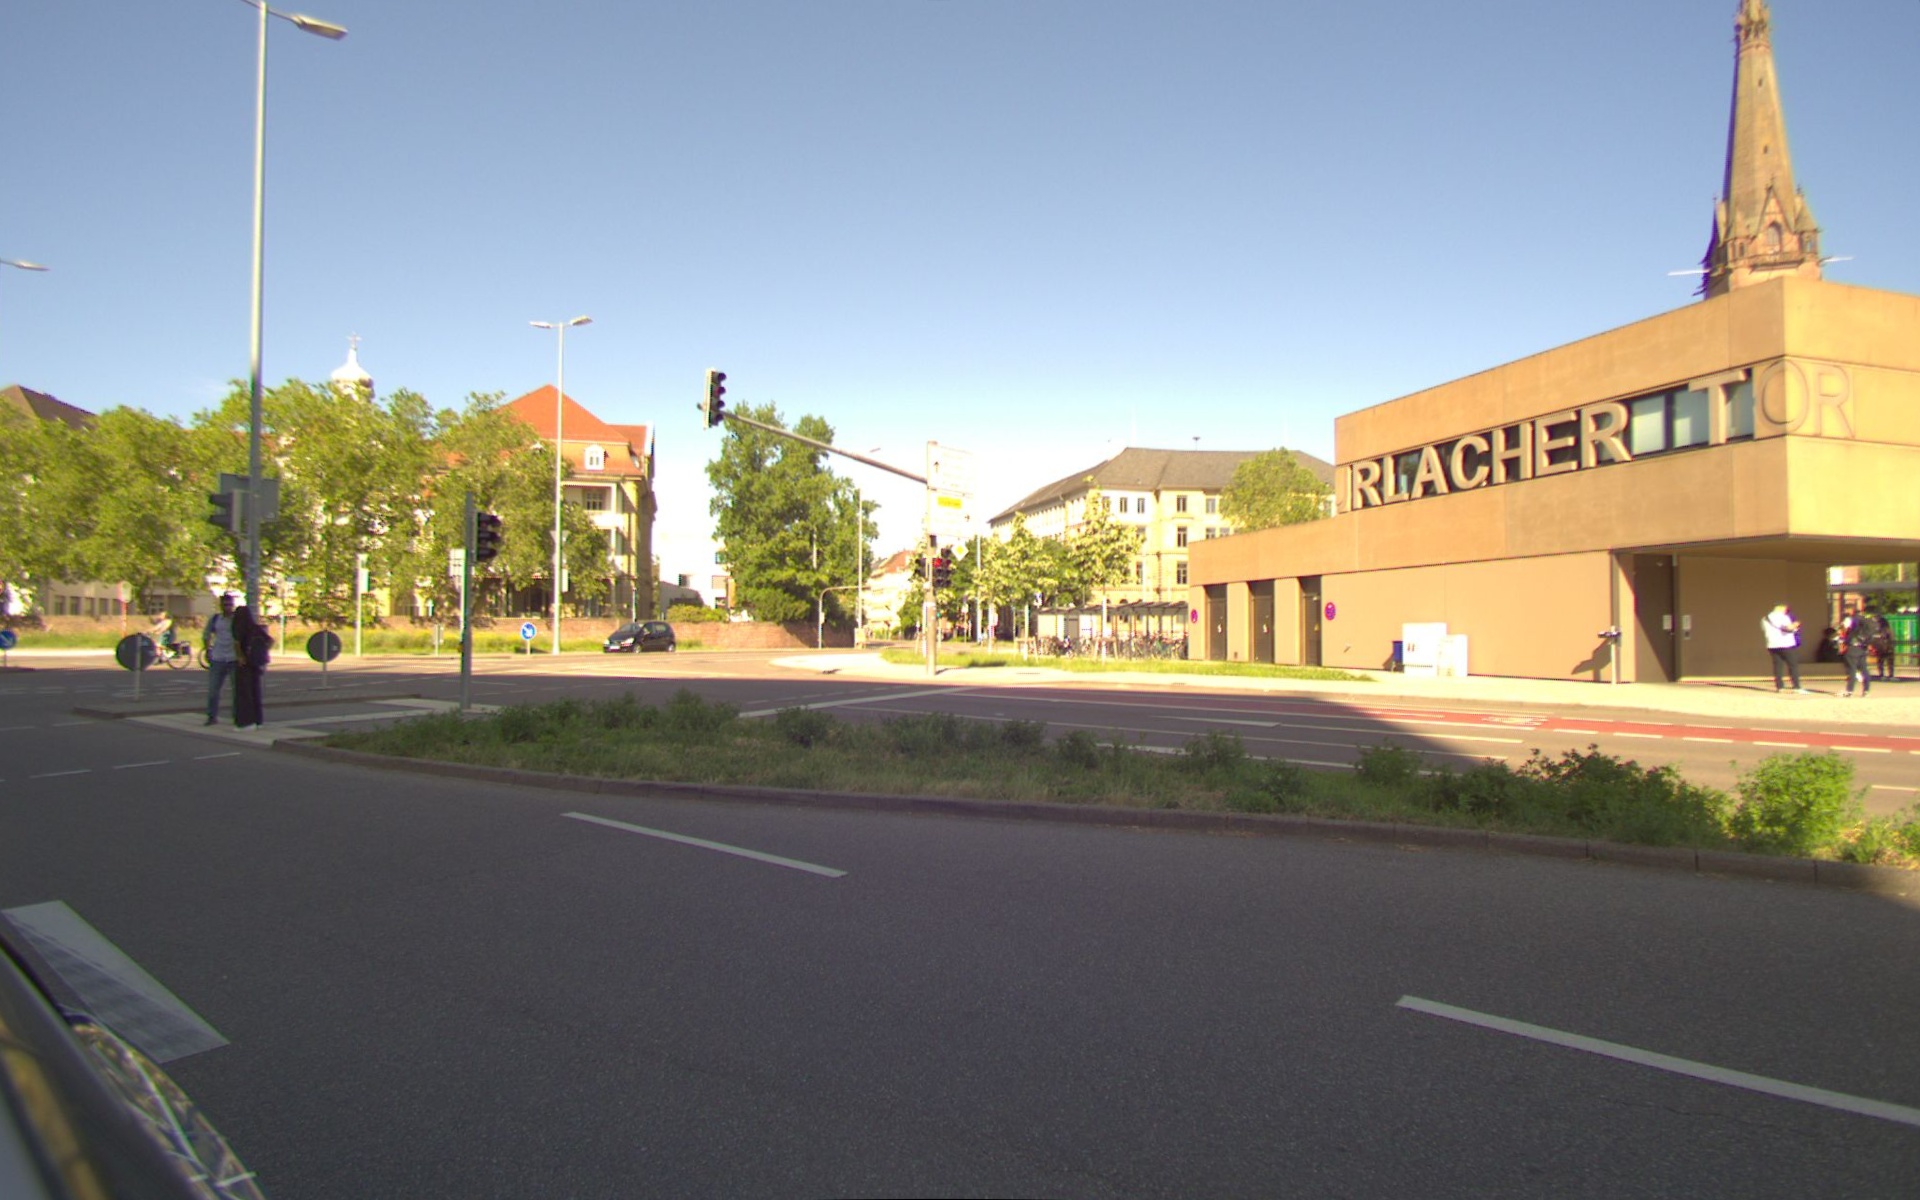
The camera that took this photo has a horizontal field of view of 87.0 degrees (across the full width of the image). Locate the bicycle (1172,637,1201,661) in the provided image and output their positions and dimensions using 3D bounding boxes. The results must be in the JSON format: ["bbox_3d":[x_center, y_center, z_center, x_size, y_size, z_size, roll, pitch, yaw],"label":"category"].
[{"bbox_3d":[10.020,2.162,44.791,0.559,1.046,1.792,1,-2,-11],"label":"bicycle"}]

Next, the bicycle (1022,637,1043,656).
[{"bbox_3d":[4.101,2.607,57.266,0.558,1.046,1.793,2,-2,-18],"label":"bicycle"}]

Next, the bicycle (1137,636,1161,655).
[{"bbox_3d":[10.649,2.550,57.111,0.558,1.046,1.793,2,-2,-18],"label":"bicycle"}]

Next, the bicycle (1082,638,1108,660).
[{"bbox_3d":[6.947,2.518,52.054,0.558,1.046,1.793,2,-2,-18],"label":"bicycle"}]

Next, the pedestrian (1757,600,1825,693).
[{"bbox_3d":[15.834,0.880,19.285,0.778,1.736,0.596,1,0,-3],"label":"pedestrian"}]

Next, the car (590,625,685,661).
[{"bbox_3d":[-14.641,1.963,46.230,1.984,1.484,4.271,-3,-3,19],"label":"car"}]

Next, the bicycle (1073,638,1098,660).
[{"bbox_3d":[6.411,2.496,51.848,0.558,1.046,1.793,2,-2,-18],"label":"bicycle"}]

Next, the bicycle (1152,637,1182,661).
[{"bbox_3d":[9.641,2.279,47.238,0.558,1.046,1.793,2,-2,-18],"label":"bicycle"}]

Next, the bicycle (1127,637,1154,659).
[{"bbox_3d":[8.999,2.387,50.534,0.558,1.046,1.793,2,-2,-18],"label":"bicycle"}]

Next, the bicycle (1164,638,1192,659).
[{"bbox_3d":[10.997,2.435,51.137,0.558,1.046,1.793,2,-2,-18],"label":"bicycle"}]

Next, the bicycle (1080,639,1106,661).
[{"bbox_3d":[6.529,2.451,49.700,0.558,1.046,1.793,2,-2,-18],"label":"bicycle"}]

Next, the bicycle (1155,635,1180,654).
[{"bbox_3d":[11.809,2.532,57.541,0.558,1.046,1.793,2,-2,-18],"label":"bicycle"}]

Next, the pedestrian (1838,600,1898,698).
[{"bbox_3d":[16.607,0.880,18.504,0.633,1.736,0.749,1,0,-43],"label":"pedestrian"}]

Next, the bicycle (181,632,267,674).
[{"bbox_3d":[-21.677,1.547,29.859,0.773,1.174,1.955,-2,-3,19],"label":"bicycle"}]

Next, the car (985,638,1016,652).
[{"bbox_3d":[5.685,6.320,141.880,3.735,1.830,2.006,1,-3,-28],"label":"car"}]

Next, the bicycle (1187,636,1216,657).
[{"bbox_3d":[12.282,2.355,51.543,0.558,1.046,1.793,2,-2,-18],"label":"bicycle"}]

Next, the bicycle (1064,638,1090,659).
[{"bbox_3d":[5.934,2.459,51.463,0.558,1.046,1.793,2,-2,-18],"label":"bicycle"}]

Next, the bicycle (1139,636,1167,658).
[{"bbox_3d":[9.653,2.346,50.723,0.558,1.046,1.793,2,-2,-18],"label":"bicycle"}]

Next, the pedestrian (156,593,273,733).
[{"bbox_3d":[-10.282,0.841,13.990,0.748,1.846,1.092,-1,-1,11],"label":"pedestrian"}]

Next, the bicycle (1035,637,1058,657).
[{"bbox_3d":[4.711,2.546,55.333,0.558,1.046,1.793,2,-2,-18],"label":"bicycle"}]

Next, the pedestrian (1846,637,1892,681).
[{"bbox_3d":[20.664,1.337,23.020,0.501,0.973,0.576,1,0,-10],"label":"pedestrian"}]

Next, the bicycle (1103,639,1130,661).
[{"bbox_3d":[7.716,2.468,50.083,0.558,1.046,1.793,2,-2,-18],"label":"bicycle"}]

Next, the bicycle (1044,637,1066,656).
[{"bbox_3d":[5.414,2.633,57.693,0.558,1.046,1.793,2,-2,-18],"label":"bicycle"}]

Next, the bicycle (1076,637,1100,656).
[{"bbox_3d":[7.083,2.573,56.018,0.558,1.046,1.793,2,-2,-18],"label":"bicycle"}]

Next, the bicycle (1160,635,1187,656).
[{"bbox_3d":[11.273,2.410,53.530,0.558,1.046,1.793,2,-2,-18],"label":"bicycle"}]

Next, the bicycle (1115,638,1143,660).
[{"bbox_3d":[8.403,2.425,50.338,0.558,1.046,1.793,2,-2,-18],"label":"bicycle"}]

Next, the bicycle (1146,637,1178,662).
[{"bbox_3d":[8.872,2.167,44.573,0.558,1.046,1.793,2,-2,-18],"label":"bicycle"}]

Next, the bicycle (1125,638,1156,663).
[{"bbox_3d":[7.929,2.191,44.456,0.558,1.046,1.793,2,-2,-18],"label":"bicycle"}]

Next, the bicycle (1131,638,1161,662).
[{"bbox_3d":[8.549,2.280,46.554,0.558,1.046,1.793,2,-2,-18],"label":"bicycle"}]

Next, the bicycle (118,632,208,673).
[{"bbox_3d":[-23.151,1.516,29.422,0.641,1.174,1.945,-3,-3,34],"label":"bicycle"}]

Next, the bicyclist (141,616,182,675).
[{"bbox_3d":[-23.171,1.320,29.381,0.641,1.675,0.767,-2,-3,34],"label":"bicyclist"}]

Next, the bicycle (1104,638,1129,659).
[{"bbox_3d":[8.118,2.495,52.541,0.558,1.046,1.793,2,-2,-18],"label":"bicycle"}]

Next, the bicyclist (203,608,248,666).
[{"bbox_3d":[-21.683,1.089,29.890,0.779,1.675,0.771,-2,-2,19],"label":"bicyclist"}]

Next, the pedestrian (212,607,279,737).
[{"bbox_3d":[-9.305,0.913,13.182,0.671,1.624,0.721,1,-2,-36],"label":"pedestrian"}]

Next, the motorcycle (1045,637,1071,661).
[{"bbox_3d":[4.803,2.405,49.778,0.585,1.128,1.990,0,-2,-14],"label":"motorcycle"}]

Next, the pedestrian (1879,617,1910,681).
[{"bbox_3d":[22.792,1.184,24.686,0.509,1.521,0.738,1,0,41],"label":"pedestrian"}]
